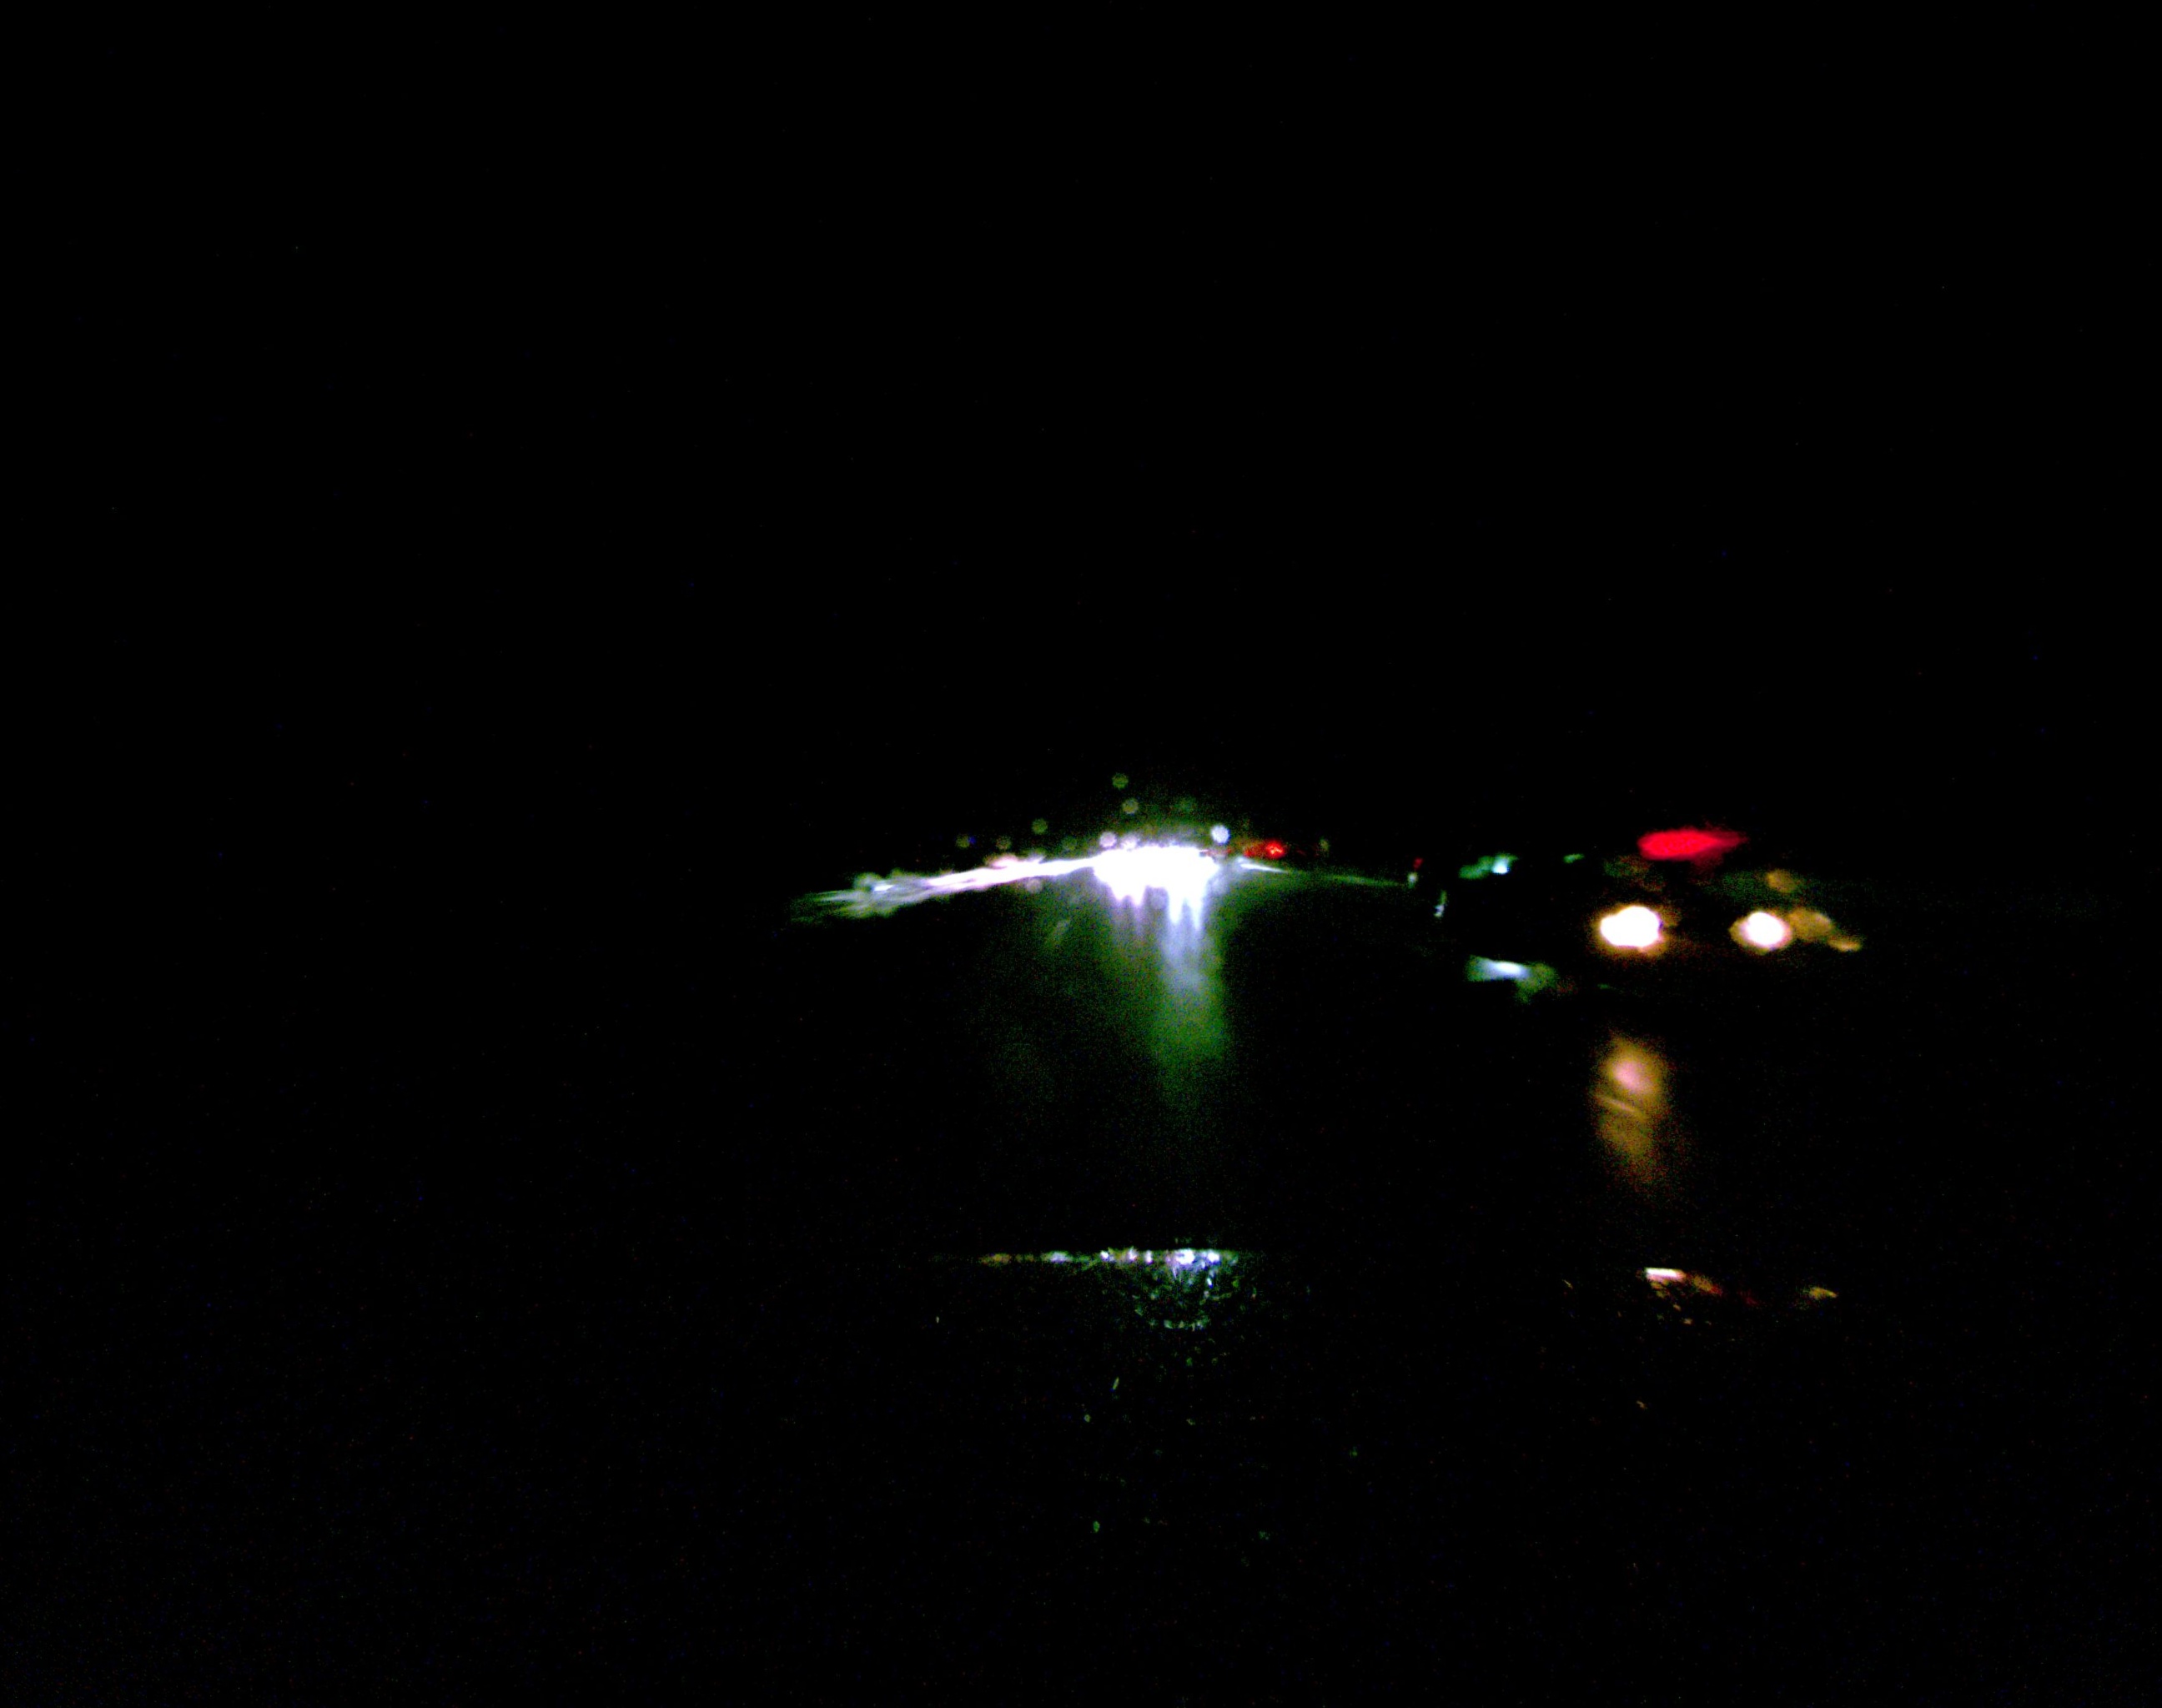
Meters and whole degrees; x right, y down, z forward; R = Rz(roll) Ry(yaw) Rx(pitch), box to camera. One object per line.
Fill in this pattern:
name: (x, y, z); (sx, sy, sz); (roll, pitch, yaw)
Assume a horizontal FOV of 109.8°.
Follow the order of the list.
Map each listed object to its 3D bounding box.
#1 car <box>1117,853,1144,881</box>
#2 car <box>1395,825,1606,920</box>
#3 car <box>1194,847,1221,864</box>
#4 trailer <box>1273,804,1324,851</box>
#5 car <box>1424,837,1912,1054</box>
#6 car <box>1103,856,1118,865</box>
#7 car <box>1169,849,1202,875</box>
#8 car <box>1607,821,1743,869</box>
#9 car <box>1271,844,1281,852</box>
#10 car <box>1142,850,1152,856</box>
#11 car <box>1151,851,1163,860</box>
car: (3.924, 1.014, 60.614); (1.998, 2.002, 4.000); (-3, 1, 3)
car: (9.215, 0.339, 17.302); (1.999, 1.767, 4.886); (-3, 1, 0)
car: (13.296, 0.147, 80.224); (2.310, 1.600, 3.871); (-3, 1, 3)
trailer: (31.667, -3.712, 111.440); (3.470, 6.092, 14.409); (-7, 0, 3)
car: (5.507, 0.690, 8.014); (1.920, 1.585, 4.233); (-3, 1, 2)
car: (4.516, 0.967, 114.760); (1.998, 1.149, 4.001); (-3, 1, 5)
car: (7.475, 0.568, 54.645); (1.998, 1.667, 4.000); (-3, 1, 4)
car: (23.051, -0.356, 29.726); (1.998, 1.633, 4.253); (-3, 1, 1)
car: (43.520, -1.384, 169.675); (1.779, 1.462, 3.987); (-5, 0, 8)
car: (14.384, -0.190, 166.505); (1.997, 1.149, 4.001); (-3, 1, 6)
car: (11.391, 0.197, 114.424); (1.692, 1.149, 3.421); (-3, 1, 4)
